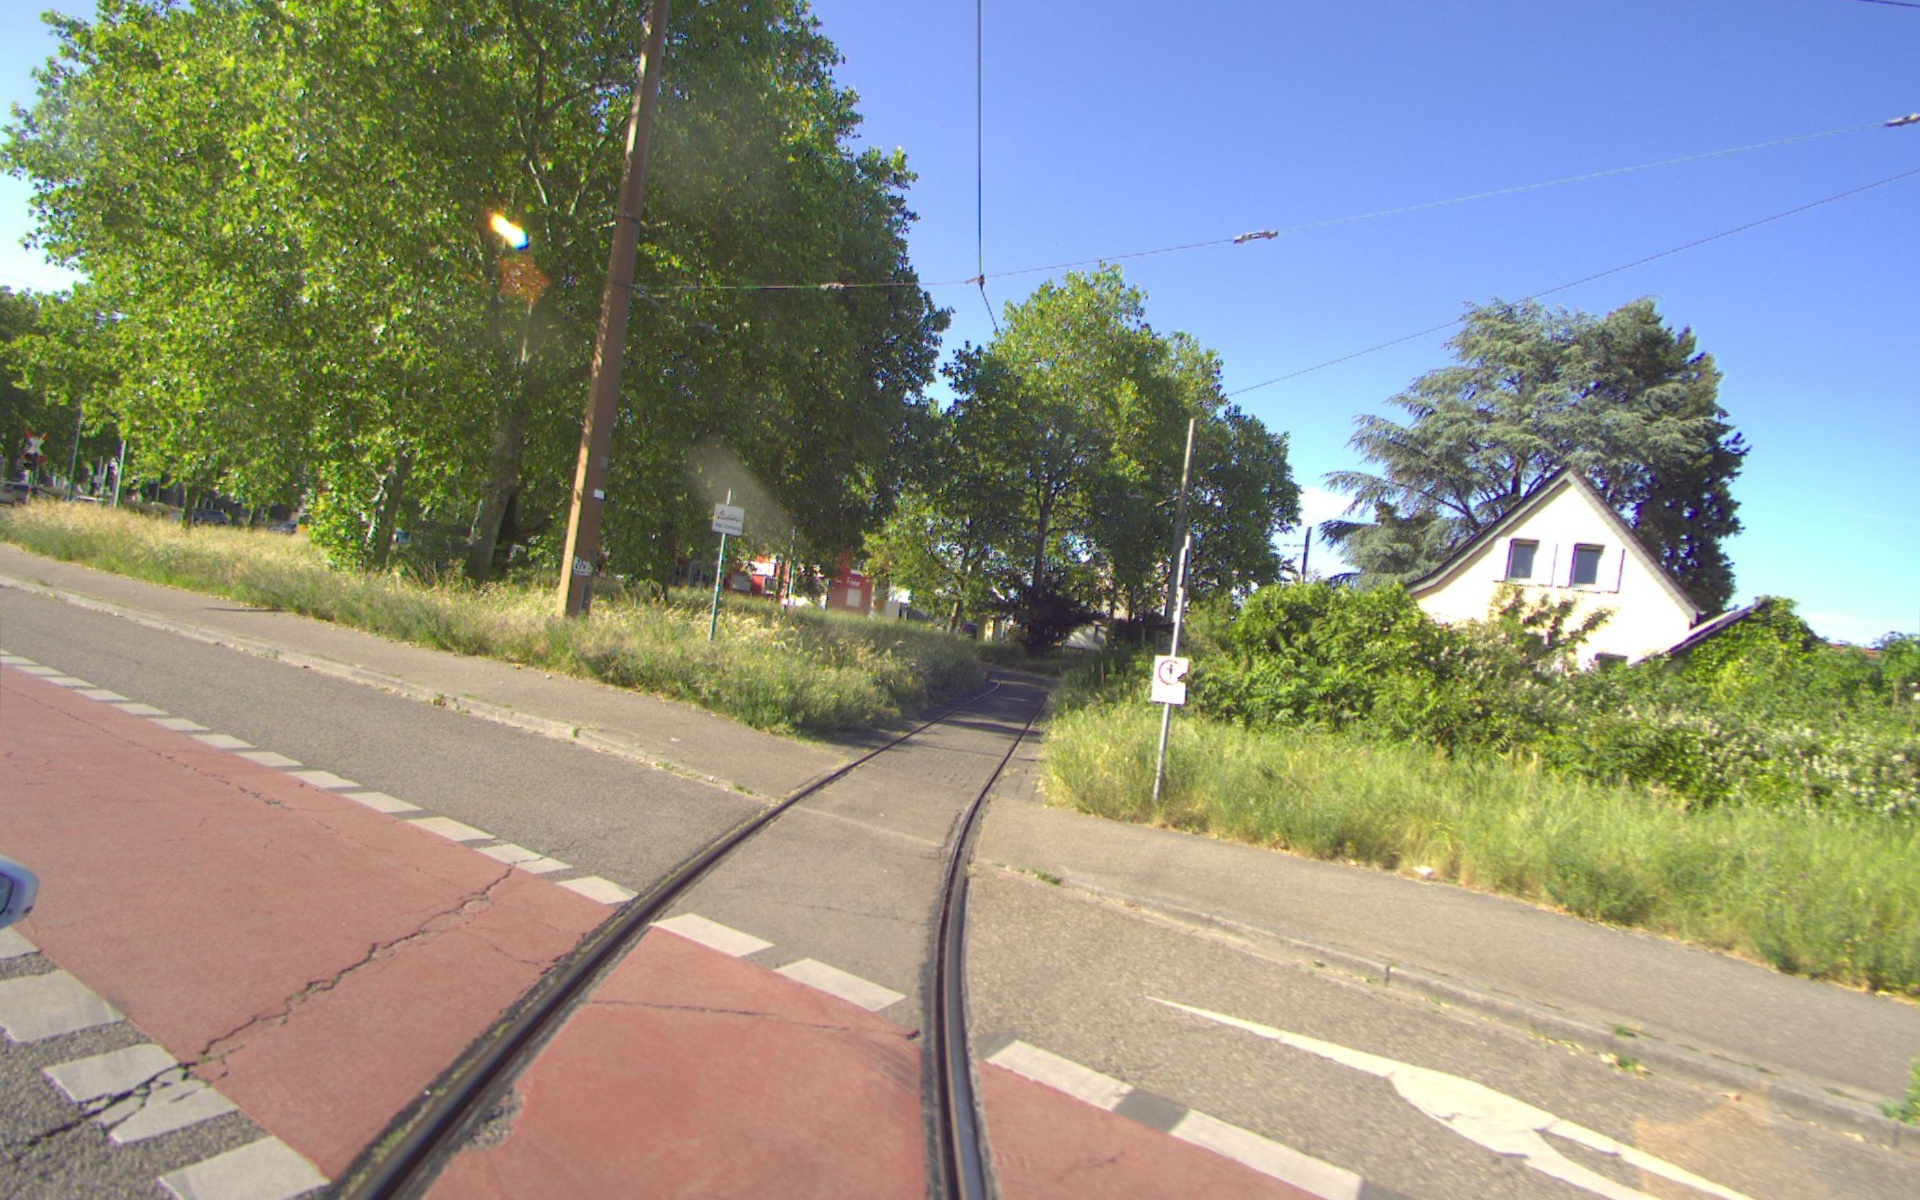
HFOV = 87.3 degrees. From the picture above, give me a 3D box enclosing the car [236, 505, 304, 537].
[{"bbox_3d":[-61.777,-7.088,90.176,1.962,2.037,4.908,8,-1,9],"label":"car"}]
